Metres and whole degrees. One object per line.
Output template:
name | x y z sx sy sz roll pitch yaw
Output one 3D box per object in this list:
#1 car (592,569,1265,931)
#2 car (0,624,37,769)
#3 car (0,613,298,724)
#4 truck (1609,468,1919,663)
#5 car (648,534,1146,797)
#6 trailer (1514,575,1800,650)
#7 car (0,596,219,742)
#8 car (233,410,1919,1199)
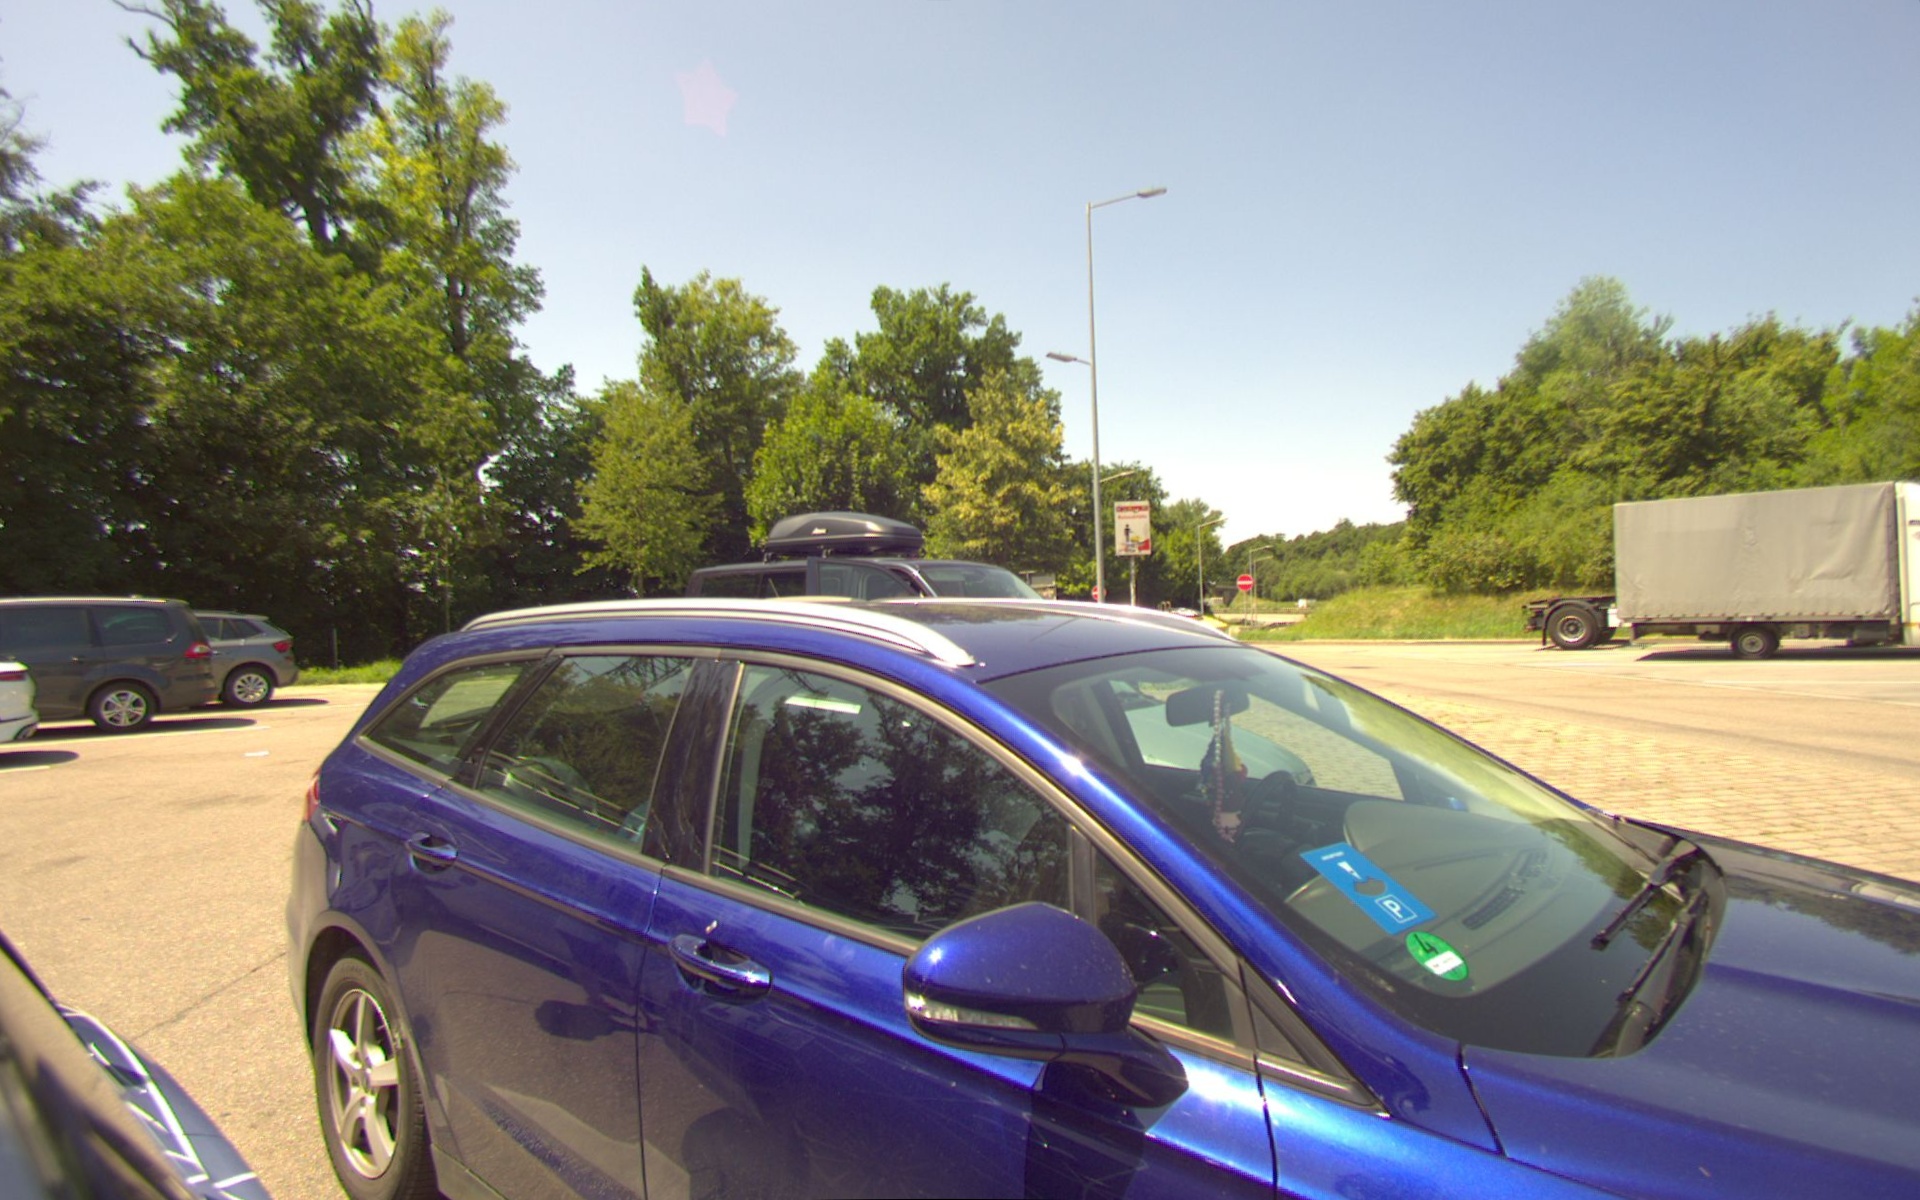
car | -0.381 0.646 5.813 3.739 1.424 1.587 -2 -1 40
car | -10.976 0.937 9.205 3.753 1.377 1.804 0 -1 -45
car | -12.612 0.967 15.619 3.753 1.488 1.743 0 -1 -45
truck | 16.695 -0.613 18.852 7.308 3.258 2.294 -5 -2 43
car | -0.748 0.531 9.424 4.426 1.875 2.022 -2 -1 40
trailer | 16.315 0.353 23.925 5.393 1.608 1.576 -2 -1 41
car | -11.729 0.830 12.594 3.830 1.703 1.883 0 -2 -45
car | 0.224 0.646 2.092 4.427 1.455 1.763 -2 -1 40
